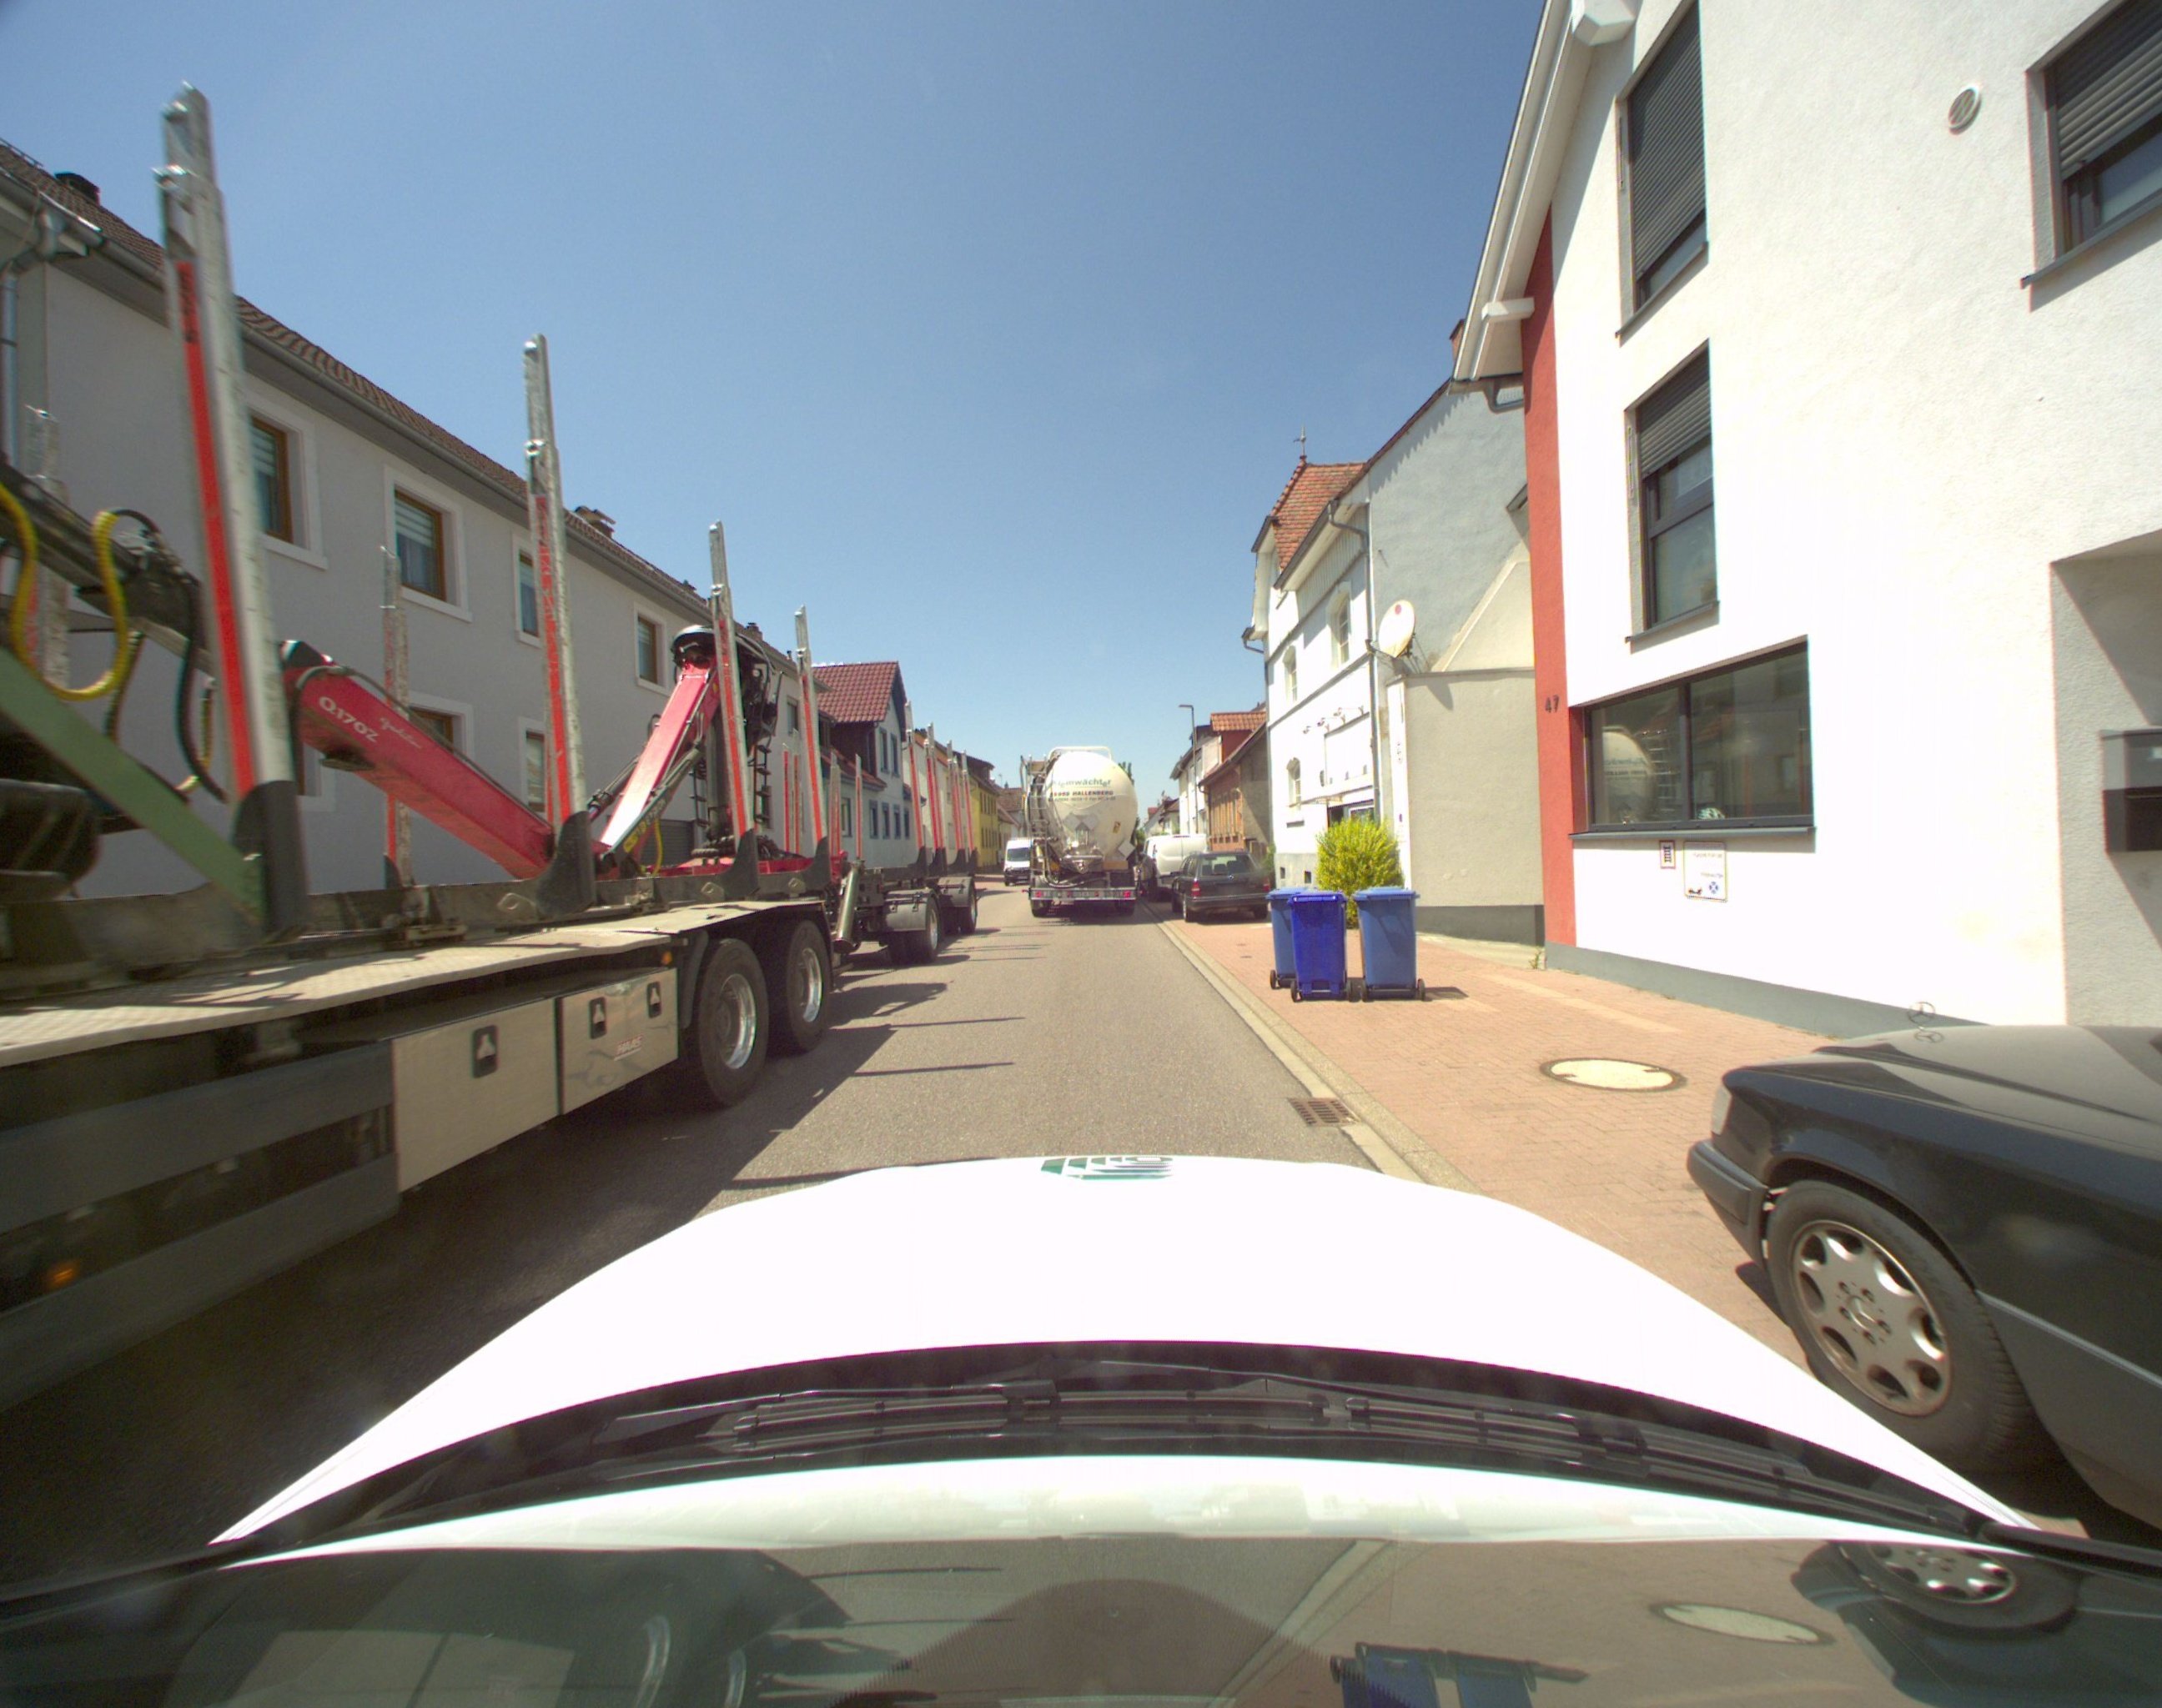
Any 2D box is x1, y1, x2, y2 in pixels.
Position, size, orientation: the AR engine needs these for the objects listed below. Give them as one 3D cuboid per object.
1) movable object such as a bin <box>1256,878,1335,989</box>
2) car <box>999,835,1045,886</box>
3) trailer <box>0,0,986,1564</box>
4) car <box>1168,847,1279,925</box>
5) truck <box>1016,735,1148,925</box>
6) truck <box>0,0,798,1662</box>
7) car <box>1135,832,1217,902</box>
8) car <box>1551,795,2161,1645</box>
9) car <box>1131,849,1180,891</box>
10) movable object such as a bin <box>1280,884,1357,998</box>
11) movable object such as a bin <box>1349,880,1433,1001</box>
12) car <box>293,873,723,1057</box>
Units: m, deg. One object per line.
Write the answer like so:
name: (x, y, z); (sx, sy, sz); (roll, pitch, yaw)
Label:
movable object such as a bin: (2.347, 0.842, 8.851); (0.716, 1.073, 0.976); (-4, 0, 17)
car: (-3.210, 0.332, 45.297); (2.119, 2.542, 5.460); (-3, 0, -1)
trailer: (-3.536, -0.395, 9.588); (2.622, 3.979, 15.698); (-3, 0, 0)
car: (3.036, 0.620, 18.252); (1.763, 1.466, 4.579); (-2, 0, 2)
truck: (0.052, -0.488, 21.171); (2.723, 3.960, 8.141); (0, 0, 0)
truck: (-3.486, -0.358, 2.424); (2.610, 3.985, 6.852); (-3, 0, 0)
car: (2.925, 0.373, 26.128); (1.940, 1.970, 4.783); (-2, 0, -1)
car: (2.671, 0.598, 0.715); (1.695, 1.446, 4.837); (-4, 0, 1)
car: (2.932, 0.597, 32.709); (1.604, 1.528, 3.677); (-2, 0, 1)
movable object such as a bin: (2.373, 0.851, 8.144); (0.650, 1.035, 0.687); (-4, 0, 17)
movable object such as a bin: (3.001, 0.821, 7.942); (0.649, 1.060, 0.839); (-4, 0, 17)
car: (-6.236, 1.065, 9.721); (1.802, 1.557, 4.566); (0, 0, 1)
